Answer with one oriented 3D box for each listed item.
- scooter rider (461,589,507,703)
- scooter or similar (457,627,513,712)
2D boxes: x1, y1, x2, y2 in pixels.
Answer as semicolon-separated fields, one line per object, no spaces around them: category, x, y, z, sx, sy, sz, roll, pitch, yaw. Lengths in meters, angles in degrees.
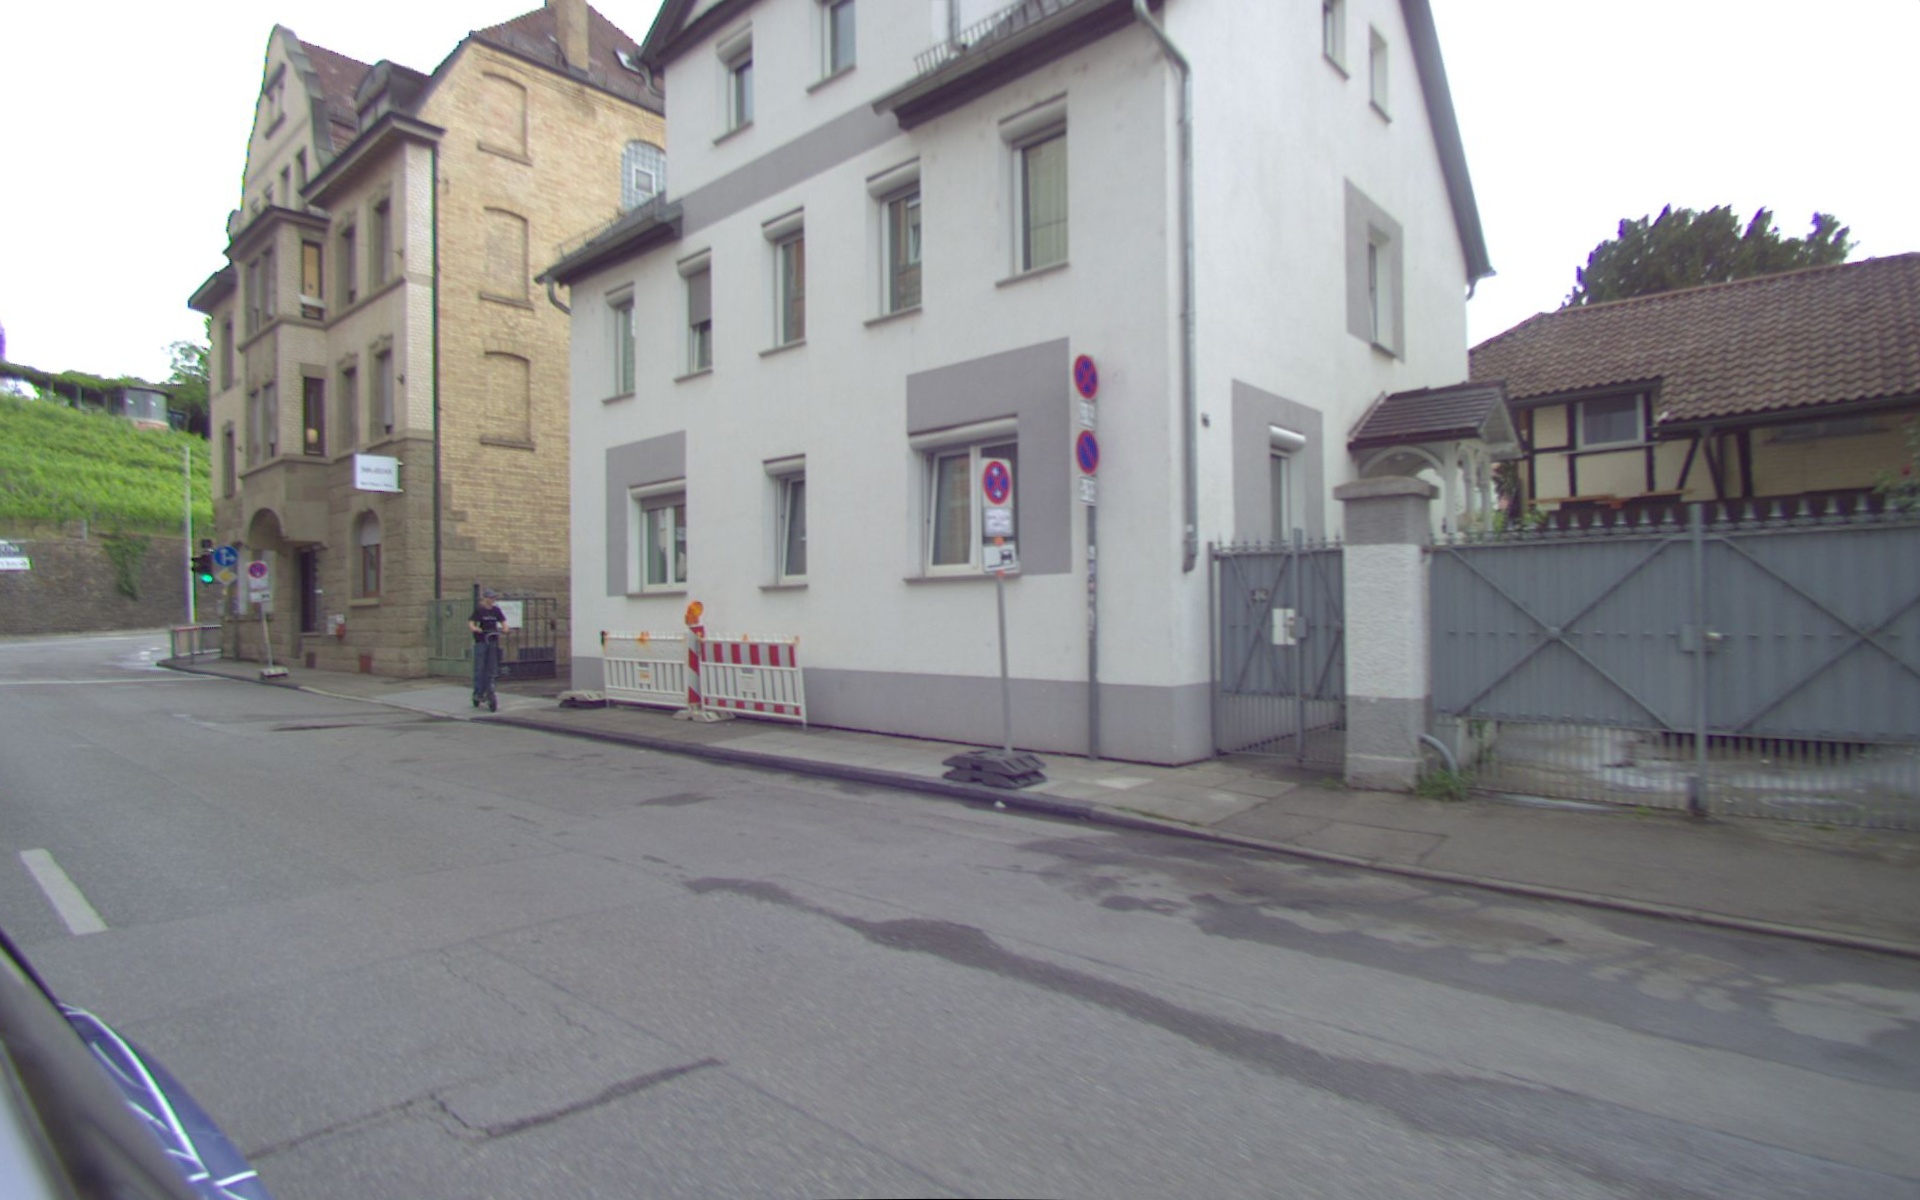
scooter rider;-7.362;0.691;15.653;0.577;1.718;0.482;0;0;45
scooter or similar;-7.339;1.045;15.626;1.227;1.251;0.374;-1;-1;44
